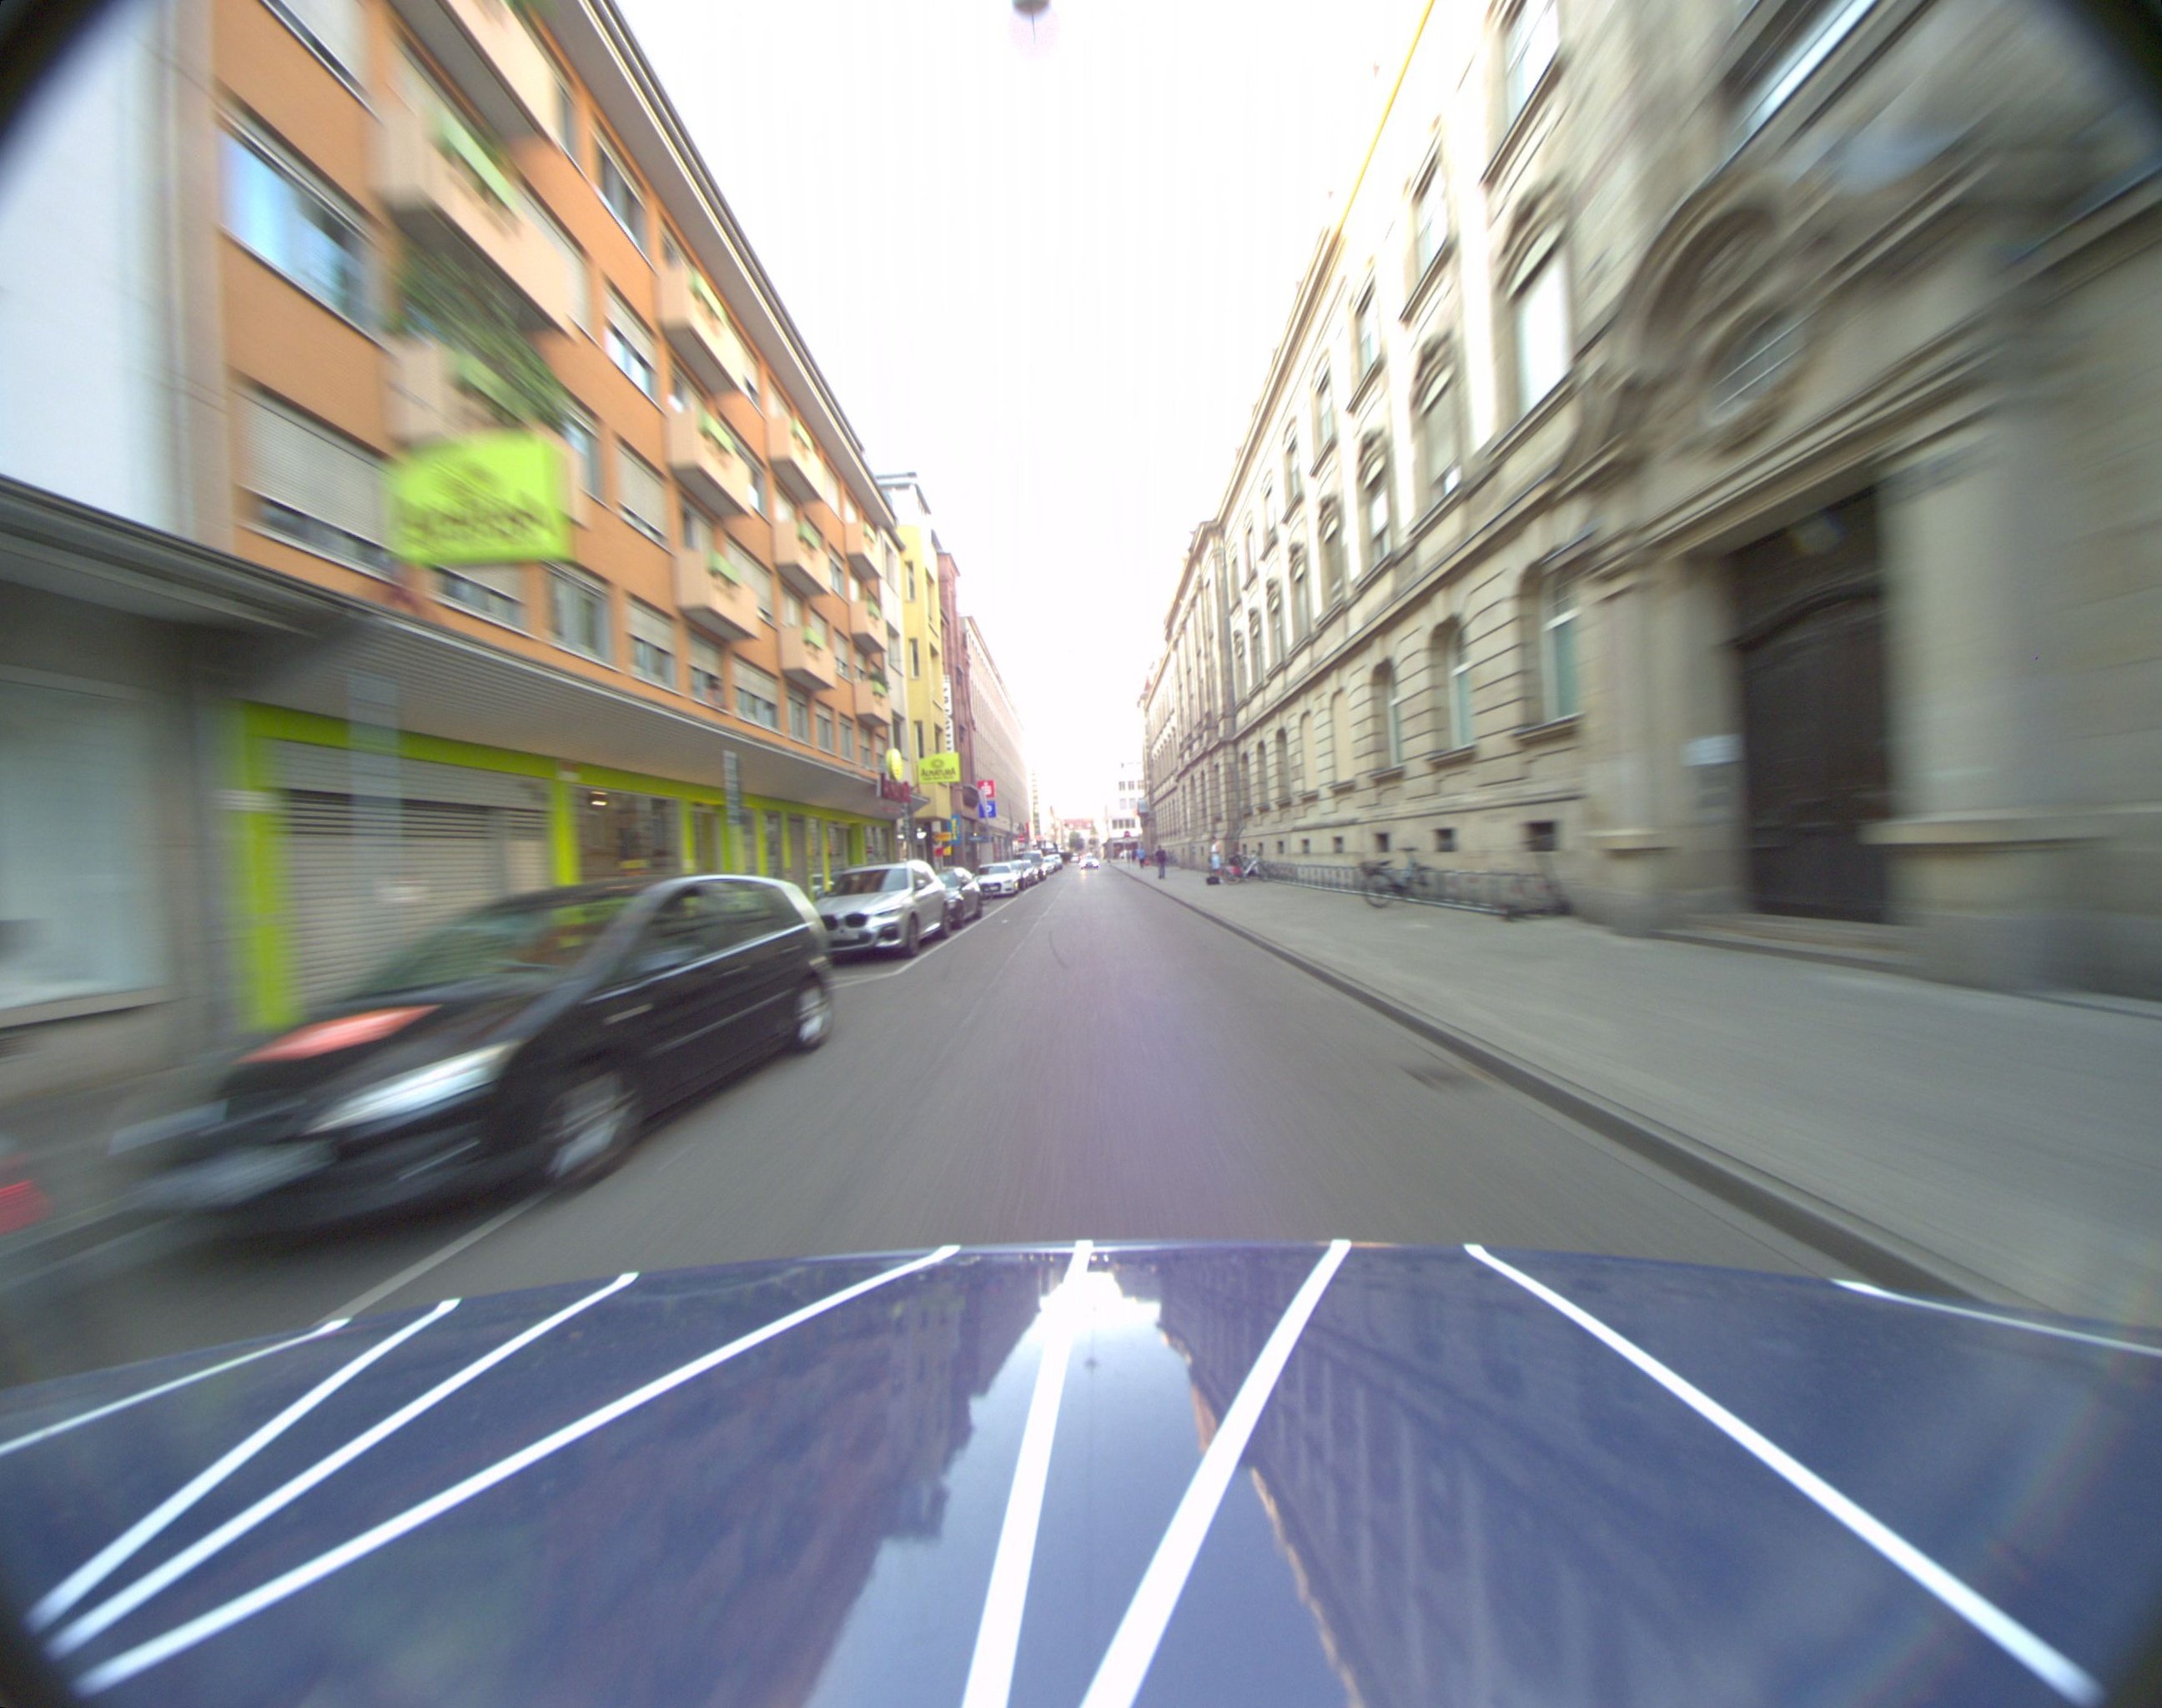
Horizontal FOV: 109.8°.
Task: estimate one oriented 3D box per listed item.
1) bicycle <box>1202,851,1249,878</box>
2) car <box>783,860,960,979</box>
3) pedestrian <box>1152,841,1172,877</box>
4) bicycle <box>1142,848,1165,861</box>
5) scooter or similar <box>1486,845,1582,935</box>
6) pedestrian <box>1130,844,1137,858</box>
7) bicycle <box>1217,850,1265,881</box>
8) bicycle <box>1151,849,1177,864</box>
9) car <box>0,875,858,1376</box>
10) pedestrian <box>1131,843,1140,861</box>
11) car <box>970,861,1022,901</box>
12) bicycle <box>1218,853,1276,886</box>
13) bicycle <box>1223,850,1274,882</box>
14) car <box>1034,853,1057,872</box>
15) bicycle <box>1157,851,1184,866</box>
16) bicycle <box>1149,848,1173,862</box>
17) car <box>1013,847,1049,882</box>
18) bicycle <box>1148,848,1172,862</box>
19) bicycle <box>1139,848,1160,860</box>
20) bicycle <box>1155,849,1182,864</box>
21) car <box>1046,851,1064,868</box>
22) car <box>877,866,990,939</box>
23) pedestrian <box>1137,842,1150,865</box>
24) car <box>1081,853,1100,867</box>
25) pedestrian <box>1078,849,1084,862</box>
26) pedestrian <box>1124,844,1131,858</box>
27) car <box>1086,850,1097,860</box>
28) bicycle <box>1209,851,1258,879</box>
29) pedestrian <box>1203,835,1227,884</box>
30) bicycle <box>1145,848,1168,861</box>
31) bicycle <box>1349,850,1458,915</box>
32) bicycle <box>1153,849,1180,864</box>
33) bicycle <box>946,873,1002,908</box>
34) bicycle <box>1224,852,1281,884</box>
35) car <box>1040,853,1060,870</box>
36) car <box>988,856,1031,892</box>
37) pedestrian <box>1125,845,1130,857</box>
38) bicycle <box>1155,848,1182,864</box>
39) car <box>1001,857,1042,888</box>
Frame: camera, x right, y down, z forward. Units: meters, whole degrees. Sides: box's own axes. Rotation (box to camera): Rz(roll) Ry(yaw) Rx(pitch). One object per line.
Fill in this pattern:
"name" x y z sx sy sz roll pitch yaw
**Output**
"bicycle" 6.562 0.466 34.559 1.942 1.055 0.619 -4 1 0
"car" -3.660 1.047 14.273 1.756 1.658 4.756 -5 0 1
"pedestrian" 4.147 0.251 39.012 0.811 1.740 0.969 -4 1 1
"bicycle" 7.168 0.025 74.935 2.026 1.072 0.729 -5 1 -18
"scooter or similar" 6.777 0.522 11.376 1.136 1.225 0.496 -4 1 -11
"pedestrian" 6.674 -0.404 96.779 0.731 1.658 0.858 -6 1 3
"bicycle" 6.542 0.465 31.092 1.799 1.101 0.500 -5 1 -5
"bicycle" 6.902 0.179 63.184 1.943 1.072 0.730 -5 1 -6
"car" -3.285 1.088 5.020 1.798 1.600 4.488 -5 0 5
"pedestrian" 5.797 -0.211 80.609 0.778 1.778 0.820 -4 1 -1
"car" -3.500 1.085 32.096 1.696 1.403 4.638 -5 0 -2
"bicycle" 6.116 0.559 28.043 1.942 1.055 0.619 -4 2 -1
"bicycle" 6.578 0.482 29.892 1.799 1.101 0.500 -5 1 -5
"car" -3.089 0.755 66.398 1.661 1.439 4.307 -4 1 0
"bicycle" 6.952 0.319 58.913 1.940 1.040 0.721 -4 1 -3
"bicycle" 7.025 0.121 66.806 1.943 1.072 0.730 -5 1 -6
"car" -3.169 0.632 49.462 1.851 2.046 5.053 -4 1 0
"bicycle" 7.026 0.117 67.995 1.943 1.072 0.730 -5 1 -6
"bicycle" 7.016 0.005 77.811 2.024 1.102 0.730 -5 1 -5
"bicycle" 7.029 0.197 61.095 1.943 1.072 0.730 -5 1 -6
"car" -2.823 0.524 83.399 1.780 1.656 4.812 -4 1 -1
"car" -3.549 1.109 19.242 1.695 1.406 4.756 -5 0 2
"pedestrian" 5.043 -0.023 61.108 0.831 1.736 0.769 -5 1 1
"car" 0.951 0.567 78.223 1.741 1.407 4.682 0 0 -1
"pedestrian" 0.022 0.253 105.453 0.687 1.751 0.799 -3 0 -7
"pedestrian" 5.926 -0.365 96.842 0.727 1.732 0.839 -6 1 3
"car" 1.964 0.178 142.673 1.824 1.728 4.000 -3 0 0
"bicycle" 6.663 0.460 33.309 1.943 1.055 0.619 -5 1 -5
"pedestrian" 5.232 0.208 29.725 0.589 1.840 0.754 -5 1 -5
"bicycle" 7.087 0.080 71.508 1.943 1.072 0.730 -5 1 -6
"bicycle" 6.437 0.551 15.171 1.944 1.055 0.619 -6 2 -14
"bicycle" 6.970 0.189 61.867 1.943 1.072 0.730 -5 1 -6
"bicycle" -3.659 1.245 26.096 1.740 1.049 0.658 -5 1 -40
"bicycle" 6.562 0.519 29.078 1.943 1.055 0.619 -5 1 -5
"car" -2.962 0.701 72.370 1.661 1.439 4.444 -4 1 -1
"car" -3.441 0.936 37.266 1.622 1.507 4.173 -5 0 0
"pedestrian" 7.618 -0.459 124.314 0.783 1.882 0.642 -3 1 0
"bicycle" 6.877 0.157 59.830 1.942 1.072 0.748 -5 1 0
"car" -3.255 1.002 42.378 1.691 1.444 4.498 -5 0 2
